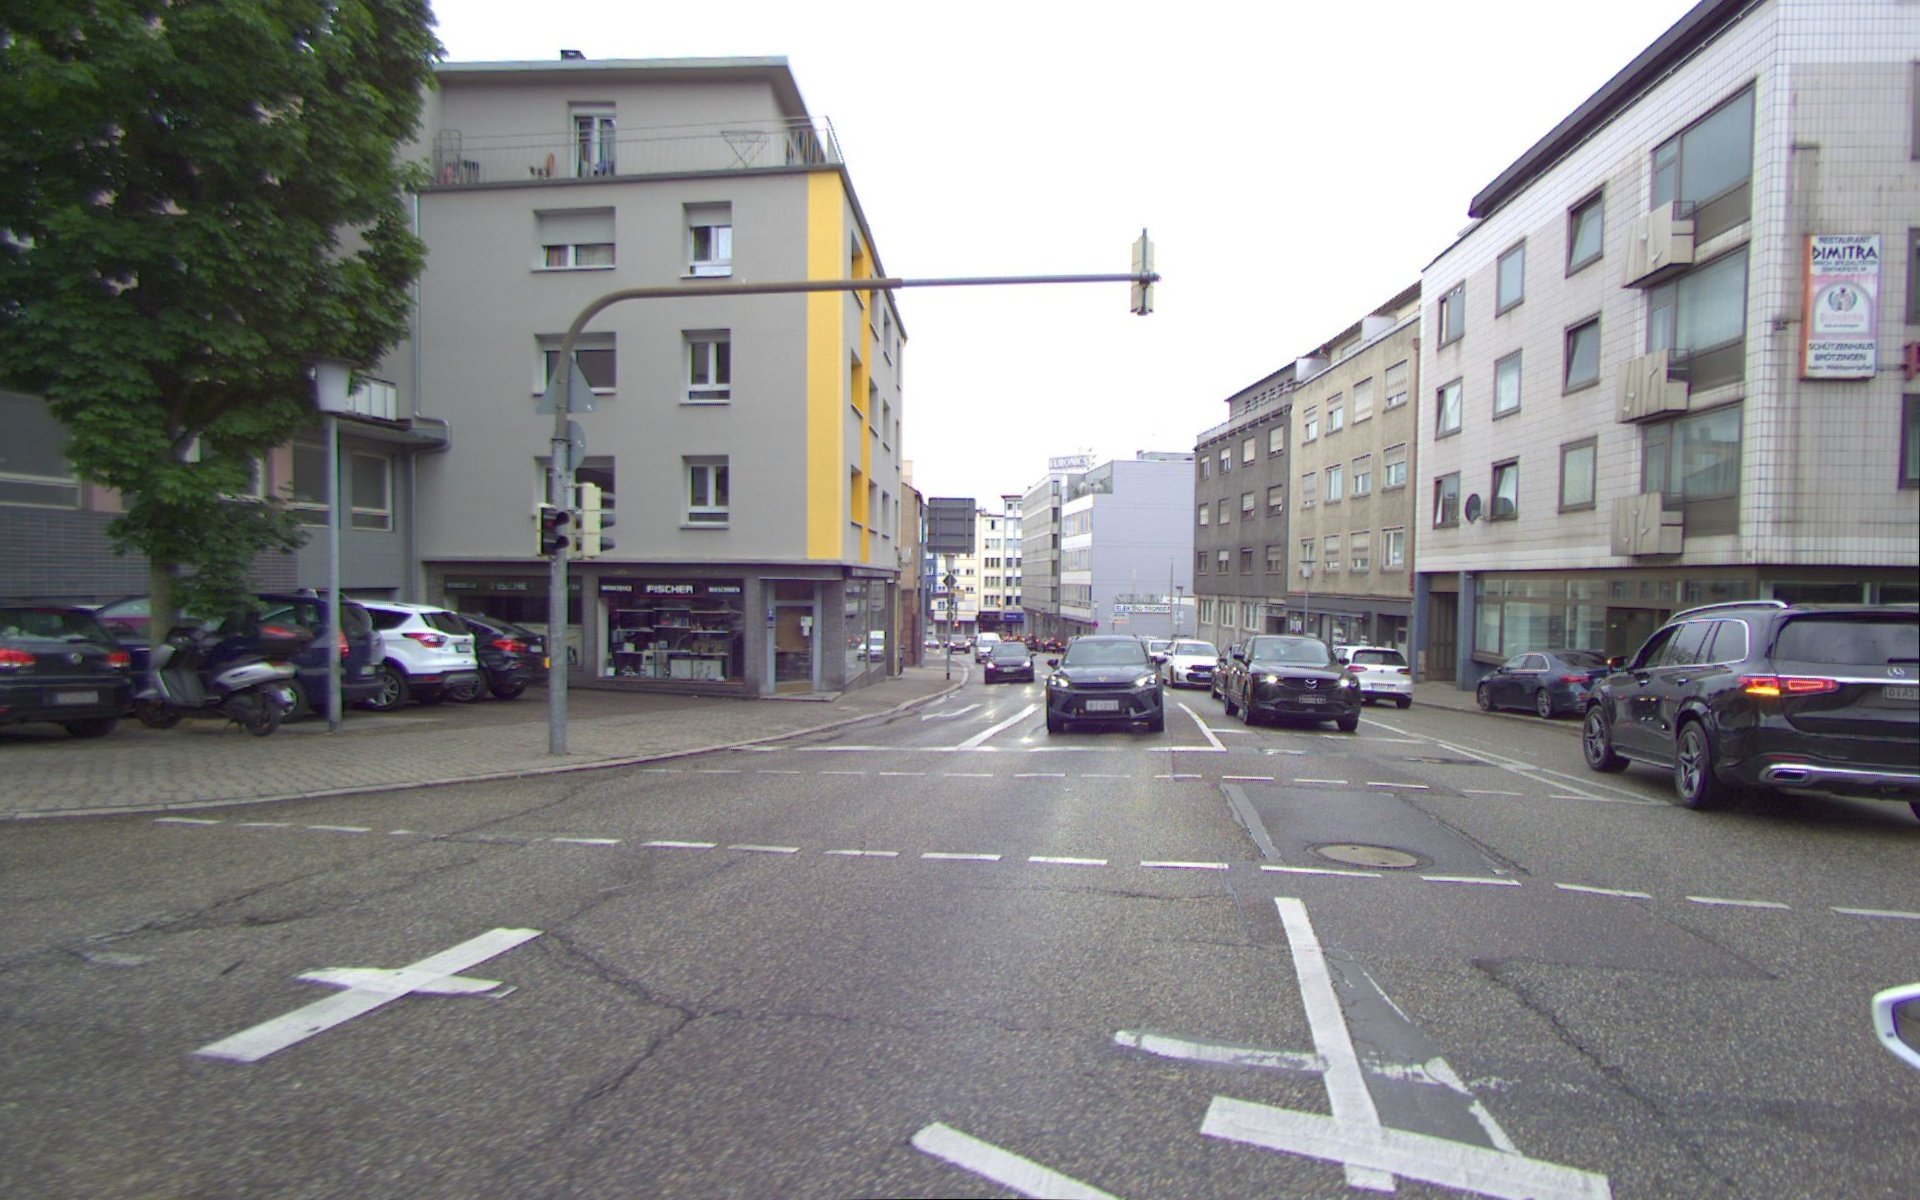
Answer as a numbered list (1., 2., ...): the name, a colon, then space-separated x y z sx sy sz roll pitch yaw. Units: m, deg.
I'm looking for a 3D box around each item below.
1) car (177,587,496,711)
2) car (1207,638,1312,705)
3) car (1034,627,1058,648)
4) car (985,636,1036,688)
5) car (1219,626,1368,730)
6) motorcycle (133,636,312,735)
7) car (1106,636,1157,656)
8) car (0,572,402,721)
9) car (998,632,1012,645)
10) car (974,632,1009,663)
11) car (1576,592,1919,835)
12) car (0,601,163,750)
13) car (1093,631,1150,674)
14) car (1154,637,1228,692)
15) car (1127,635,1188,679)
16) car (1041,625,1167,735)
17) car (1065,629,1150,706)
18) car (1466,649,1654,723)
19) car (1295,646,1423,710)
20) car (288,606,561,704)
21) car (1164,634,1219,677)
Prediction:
1. car: -10.000 0.812 16.403 3.924 1.817 1.860 1 -3 -5
2. car: 7.231 1.703 24.677 1.776 1.433 4.382 1 -2 7
3. car: 6.882 3.012 80.710 1.670 1.499 4.293 4 -2 2
4. car: 1.848 2.199 36.225 1.705 1.617 3.779 2 0 4
5. car: 5.736 1.333 17.779 1.788 1.557 4.383 1 -3 9
6. motorcycle: -8.612 0.988 11.760 1.759 1.046 0.453 2 0 3
7. car: 14.457 3.891 84.653 3.945 1.514 1.723 4 -3 -24
8. car: -10.429 0.672 13.897 4.271 1.750 1.770 3 -3 -12
9. car: 5.778 4.991 130.088 1.498 1.568 3.106 2 -1 -3
10. car: 1.869 2.900 61.469 1.700 1.854 4.059 0 -3 -4
11. car: 7.656 0.985 9.705 1.987 1.762 4.749 1 -3 20
12. car: -11.056 0.684 10.717 3.919 1.377 1.739 3 -1 9
13. car: 7.150 2.310 44.785 1.777 1.727 4.563 4 -2 1
14. car: 7.130 1.972 31.327 1.776 1.541 4.565 1 -2 7
15. car: 7.596 2.199 38.971 1.670 1.499 4.293 4 -2 3
16. car: 2.433 1.212 16.798 1.788 1.497 4.382 1 -1 9
17. car: 3.542 1.516 23.980 1.776 1.563 4.382 1 -1 9
18. car: 12.810 1.791 21.800 1.734 1.410 4.382 -1 -3 5
19. car: 10.196 1.955 26.034 1.799 1.481 4.382 0 -3 4
20. car: -9.729 1.021 18.519 3.923 1.515 1.861 3 -3 -3
21. car: 11.671 2.777 50.853 1.725 1.804 3.572 2 2 -3
